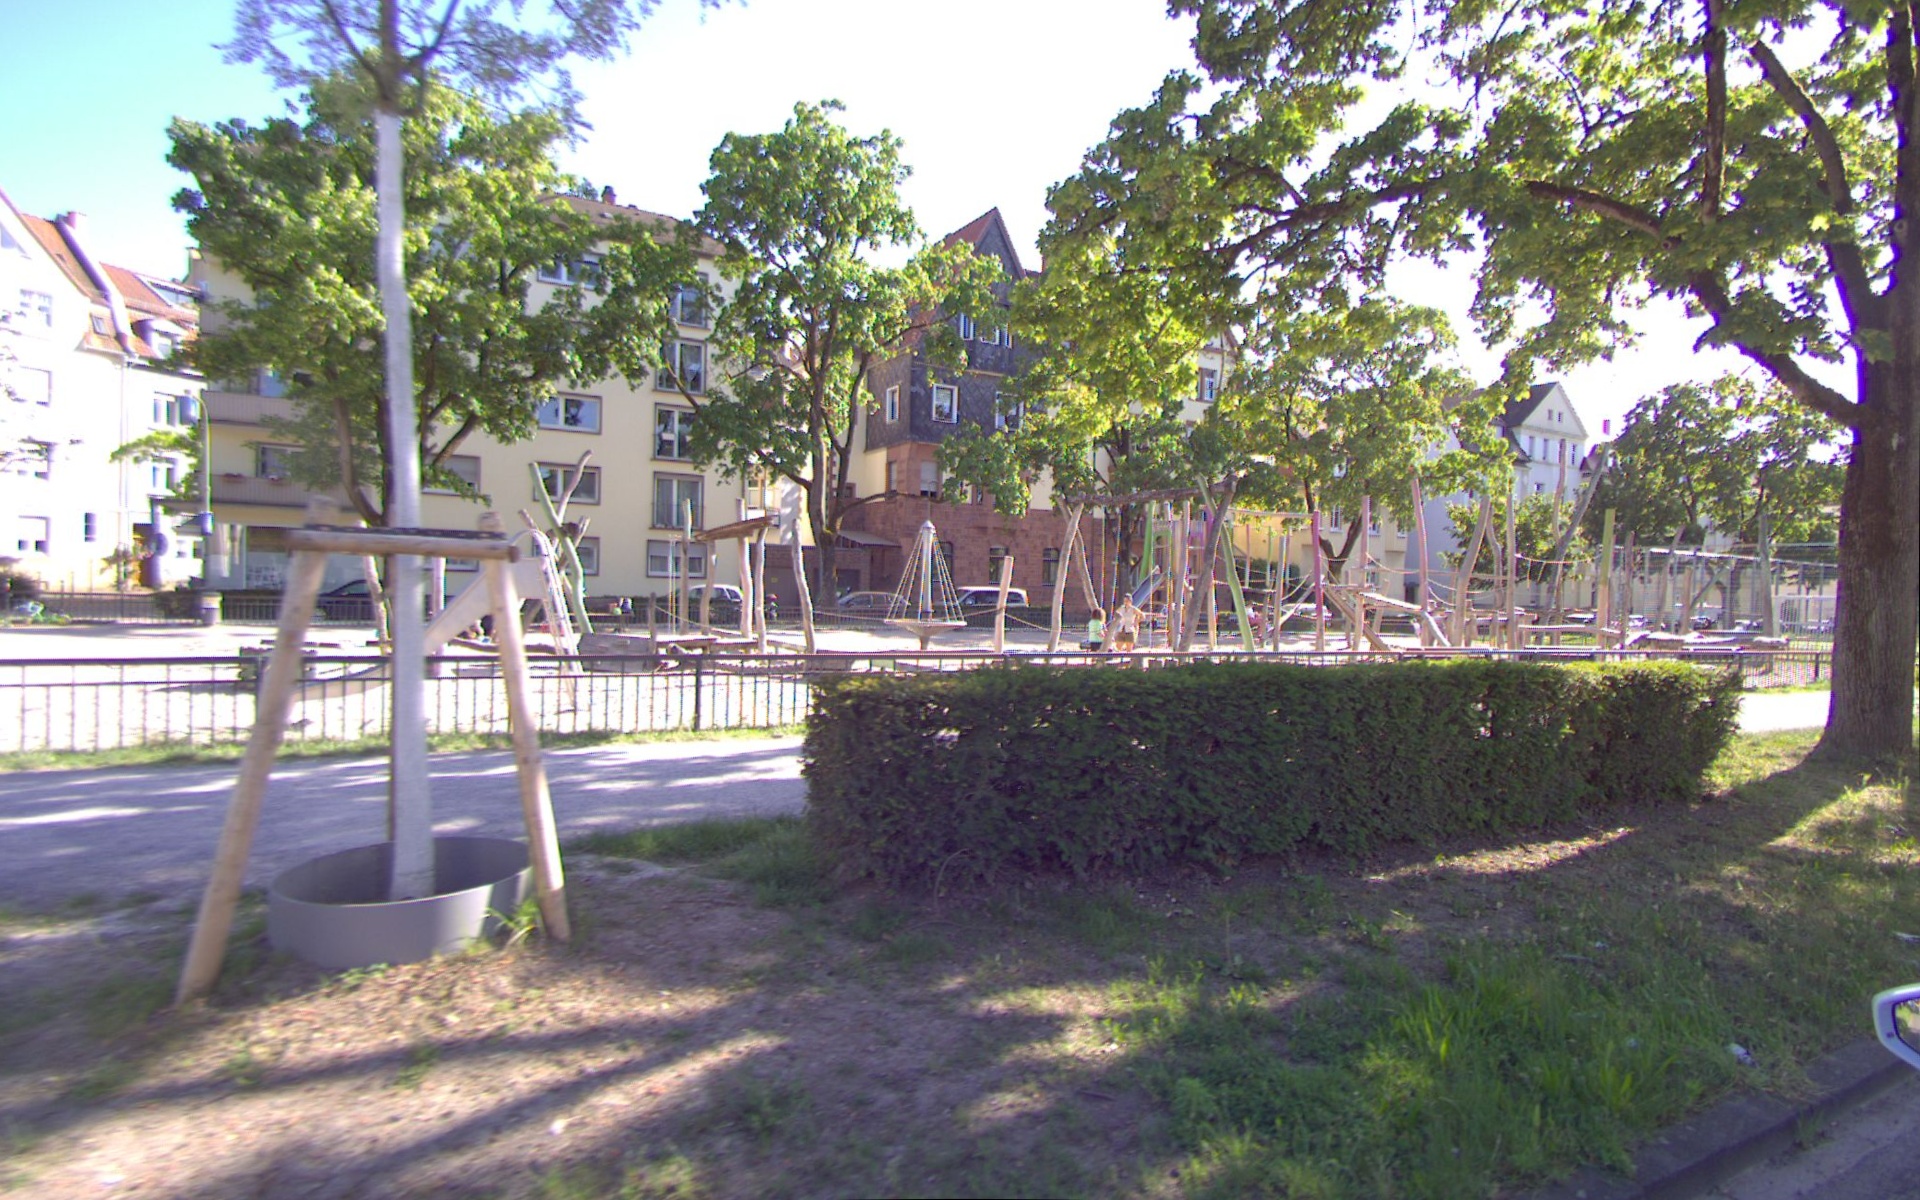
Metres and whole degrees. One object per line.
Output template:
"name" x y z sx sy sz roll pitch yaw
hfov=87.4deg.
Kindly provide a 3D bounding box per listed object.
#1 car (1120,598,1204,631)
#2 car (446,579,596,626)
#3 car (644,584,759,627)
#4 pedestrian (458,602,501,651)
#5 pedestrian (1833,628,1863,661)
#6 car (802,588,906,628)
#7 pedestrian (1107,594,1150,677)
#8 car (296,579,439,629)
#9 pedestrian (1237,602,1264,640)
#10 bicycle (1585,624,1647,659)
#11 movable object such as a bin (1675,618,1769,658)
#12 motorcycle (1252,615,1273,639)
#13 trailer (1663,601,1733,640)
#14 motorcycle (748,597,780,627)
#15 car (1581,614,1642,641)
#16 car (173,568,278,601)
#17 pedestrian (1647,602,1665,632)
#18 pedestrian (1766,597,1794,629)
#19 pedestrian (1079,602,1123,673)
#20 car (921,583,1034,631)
"car" 10.224 0.743 50.759 3.952 1.530 1.786 1 1 -30
"car" -15.594 0.088 35.771 4.709 1.530 1.896 1 1 -31
"car" -9.969 0.208 38.802 3.952 1.530 1.786 1 1 -30
"pedestrian" -10.067 0.560 21.058 0.766 0.992 0.540 1 1 -22
"pedestrian" 37.349 1.876 42.251 0.637 1.336 0.650 2 1 0
"car" -4.407 0.346 41.923 3.952 1.530 1.786 1 1 -30
"pedestrian" 3.523 0.735 21.042 0.639 1.683 0.649 1 1 -11
"car" -19.499 0.145 33.235 3.952 1.530 1.786 1 1 -30
"pedestrian" 10.516 0.758 36.374 0.643 1.336 0.644 1 1 -32
"bicycle" 23.180 1.443 35.503 0.494 1.122 1.785 1 1 -30
"movable object such as a bin" 25.654 1.257 33.850 1.045 1.258 2.317 1 0 -33
"motorcycle" 11.044 0.967 36.679 0.281 0.838 0.698 1 1 -31
"trailer" 58.048 1.626 78.987 5.735 2.909 2.331 1 1 -31
"motorcycle" -7.812 0.473 40.001 0.495 1.122 1.781 1 1 -36
"car" 46.667 1.948 71.893 4.435 1.801 1.786 1 1 -30
"car" -37.271 -0.754 51.089 1.764 1.530 4.000 1 0 19
"pedestrian" 40.227 0.974 58.075 0.642 1.683 0.645 1 0 -29
"pedestrian" 35.583 0.567 43.606 0.637 1.336 0.650 2 1 0
"pedestrian" 2.759 0.727 19.729 0.639 1.347 0.649 1 1 -11
"car" 0.809 0.330 44.978 4.777 2.009 1.786 1 1 -30
